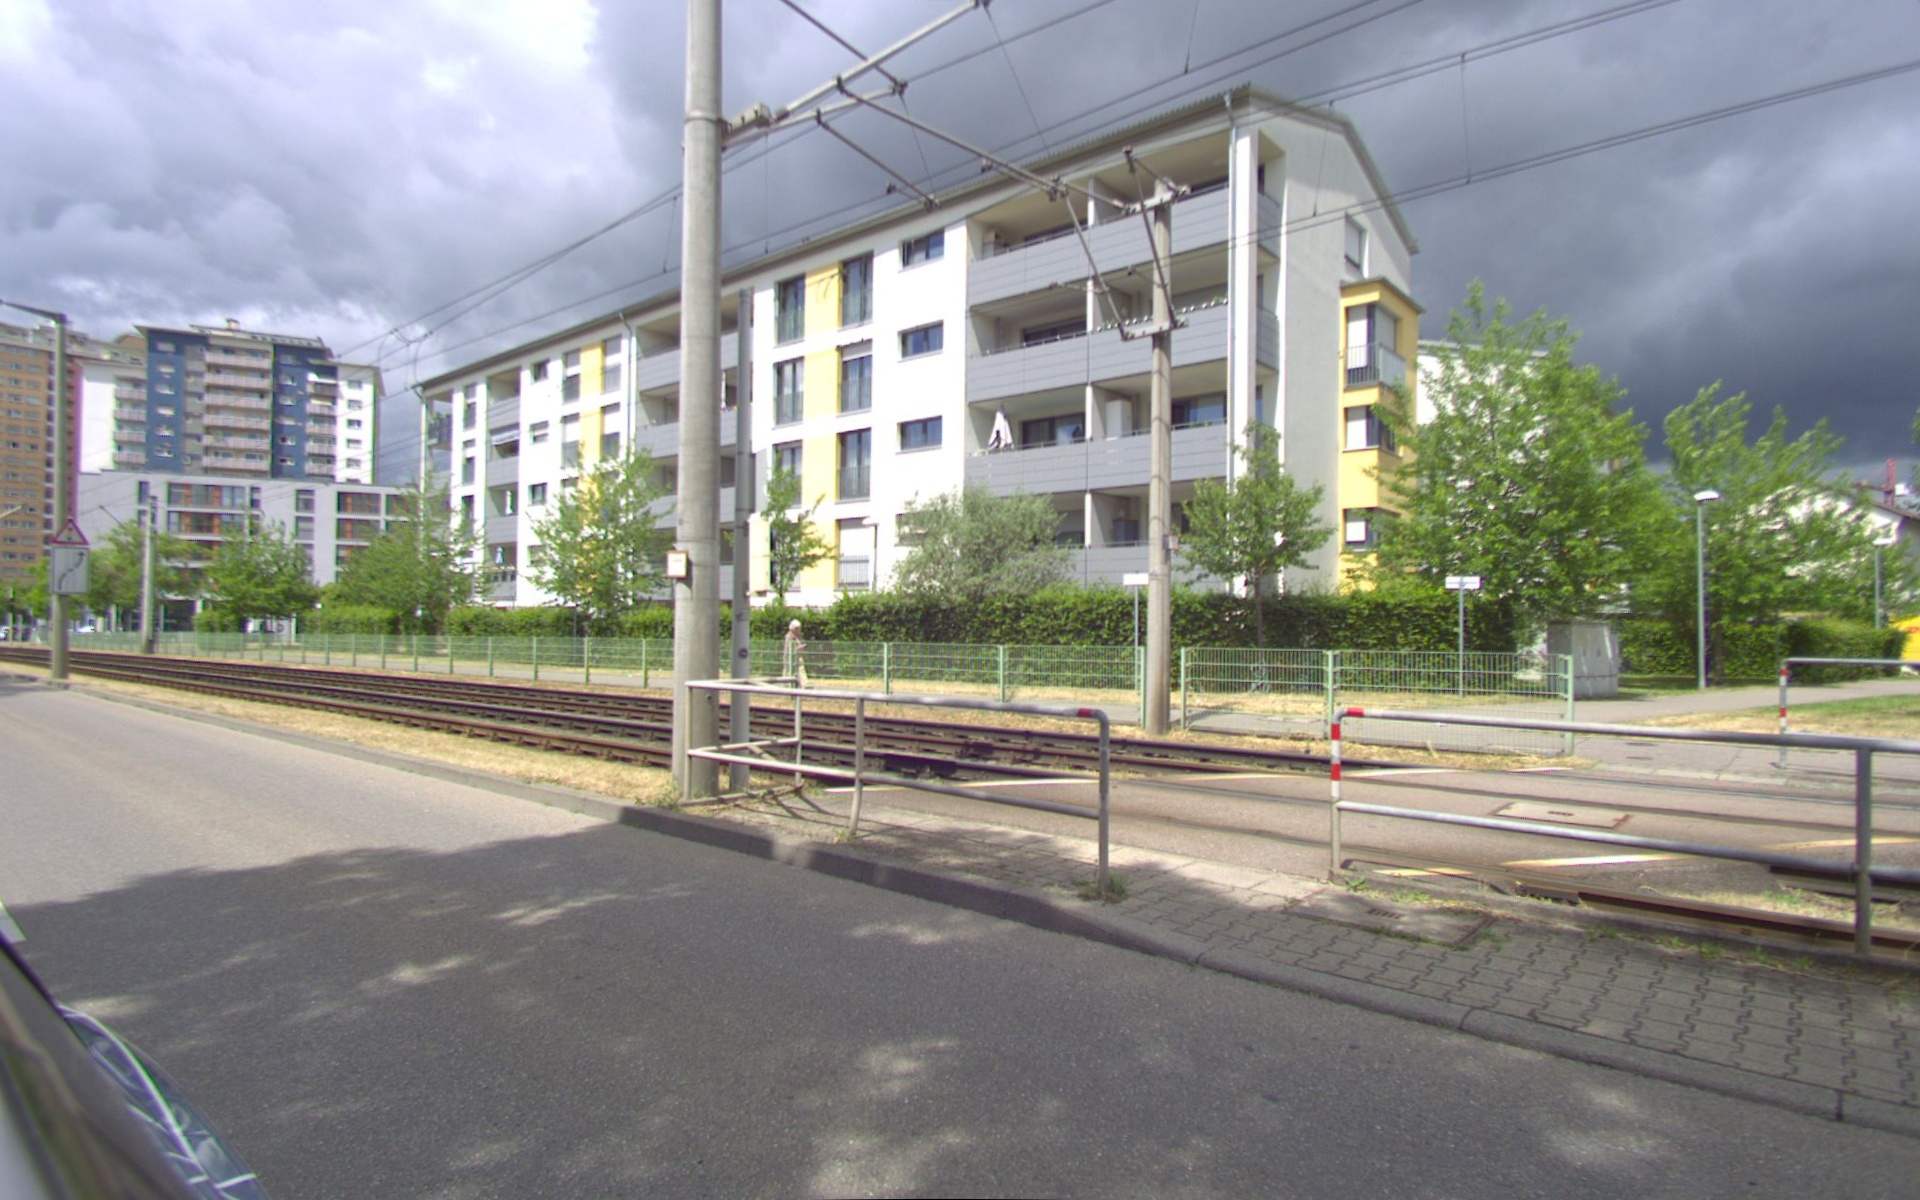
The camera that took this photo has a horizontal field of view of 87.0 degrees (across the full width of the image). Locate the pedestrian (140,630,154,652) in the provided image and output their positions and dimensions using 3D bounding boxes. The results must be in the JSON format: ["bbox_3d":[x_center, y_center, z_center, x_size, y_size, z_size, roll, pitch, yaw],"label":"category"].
[{"bbox_3d":[-64.183,3.239,79.926,0.537,1.666,0.740,-2,-2,39],"label":"pedestrian"}]

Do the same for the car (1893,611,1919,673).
[{"bbox_3d":[45.888,1.843,45.088,6.224,2.801,2.290,-2,-2,41],"label":"car"}]

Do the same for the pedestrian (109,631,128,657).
[{"bbox_3d":[-52.448,2.744,63.069,0.937,1.625,0.747,-2,-2,39],"label":"pedestrian"}]

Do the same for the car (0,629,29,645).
[{"bbox_3d":[-94.568,3.643,101.068,3.799,1.551,1.759,-1,-2,39],"label":"car"}]

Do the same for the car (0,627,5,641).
[{"bbox_3d":[-118.542,4.208,124.036,3.799,1.672,1.759,-1,-2,39],"label":"car"}]

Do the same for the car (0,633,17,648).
[{"bbox_3d":[-99.543,4.223,105.138,3.799,1.551,1.759,-1,-2,39],"label":"car"}]

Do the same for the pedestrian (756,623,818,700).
[{"bbox_3d":[-3.498,1.226,20.453,0.995,1.494,0.788,-2,-2,40],"label":"pedestrian"}]

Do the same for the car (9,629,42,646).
[{"bbox_3d":[-89.799,3.606,97.250,3.801,1.551,1.869,-1,-2,41],"label":"car"}]
